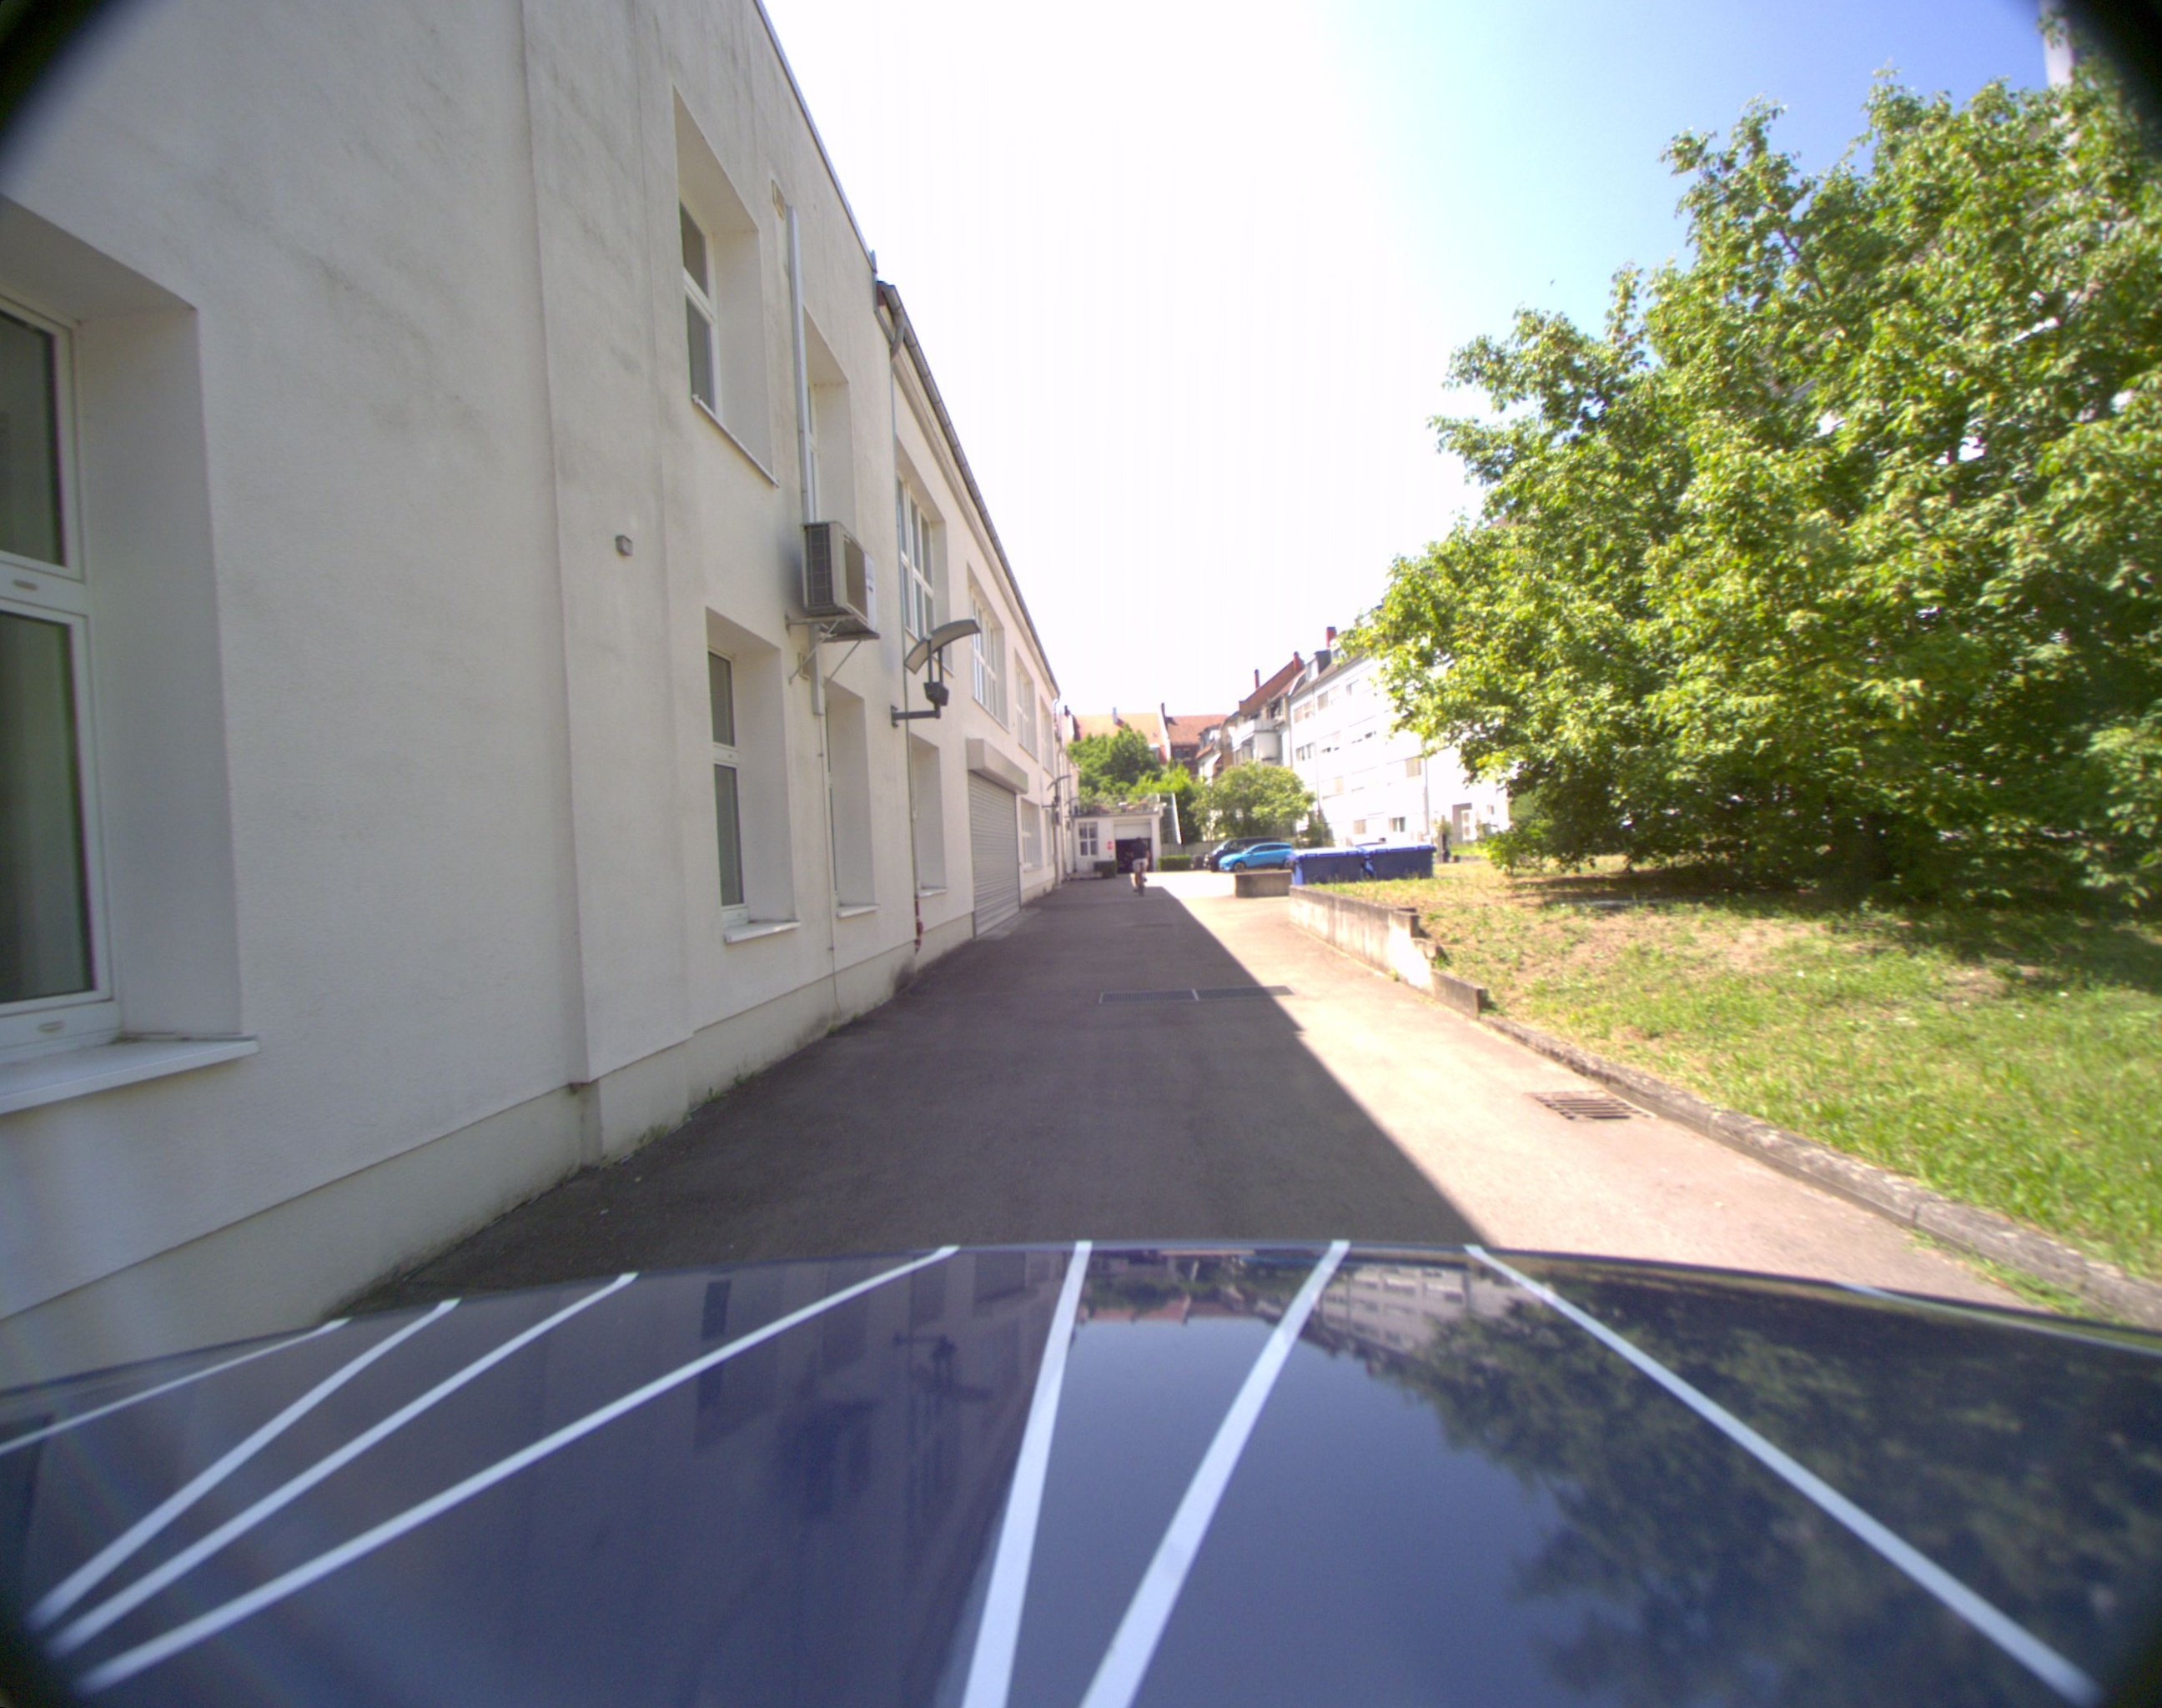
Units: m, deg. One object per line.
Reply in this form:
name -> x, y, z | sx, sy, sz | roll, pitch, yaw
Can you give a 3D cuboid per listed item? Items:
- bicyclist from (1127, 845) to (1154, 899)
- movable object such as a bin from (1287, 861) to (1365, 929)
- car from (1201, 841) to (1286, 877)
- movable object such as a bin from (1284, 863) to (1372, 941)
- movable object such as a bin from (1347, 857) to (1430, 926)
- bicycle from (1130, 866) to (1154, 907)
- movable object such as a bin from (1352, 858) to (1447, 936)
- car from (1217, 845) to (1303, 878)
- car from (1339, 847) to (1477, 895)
bicyclist -> 1.870, 0.551, 23.871 | 0.724, 1.600, 0.978 | -4, 0, 3
movable object such as a bin -> 5.109, 0.839, 15.962 | 1.257, 1.320, 1.104 | -4, 0, 3
car -> 9.393, 0.282, 44.239 | 4.448, 1.821, 2.000 | -4, 0, 0
movable object such as a bin -> 4.579, 0.876, 14.207 | 1.257, 1.320, 1.104 | -4, 0, 3
movable object such as a bin -> 6.420, 0.755, 15.934 | 1.257, 1.320, 1.104 | -4, 0, 3
bicycle -> 1.904, 1.014, 23.967 | 0.645, 1.167, 1.905 | -3, 0, 3
movable object such as a bin -> 5.898, 0.783, 14.148 | 1.257, 1.320, 1.104 | -4, 0, 3
car -> 9.758, 0.386, 41.618 | 4.167, 1.544, 1.859 | -3, 0, -2
car -> 11.254, 0.568, 26.303 | 3.997, 1.428, 1.711 | -2, 0, -1
